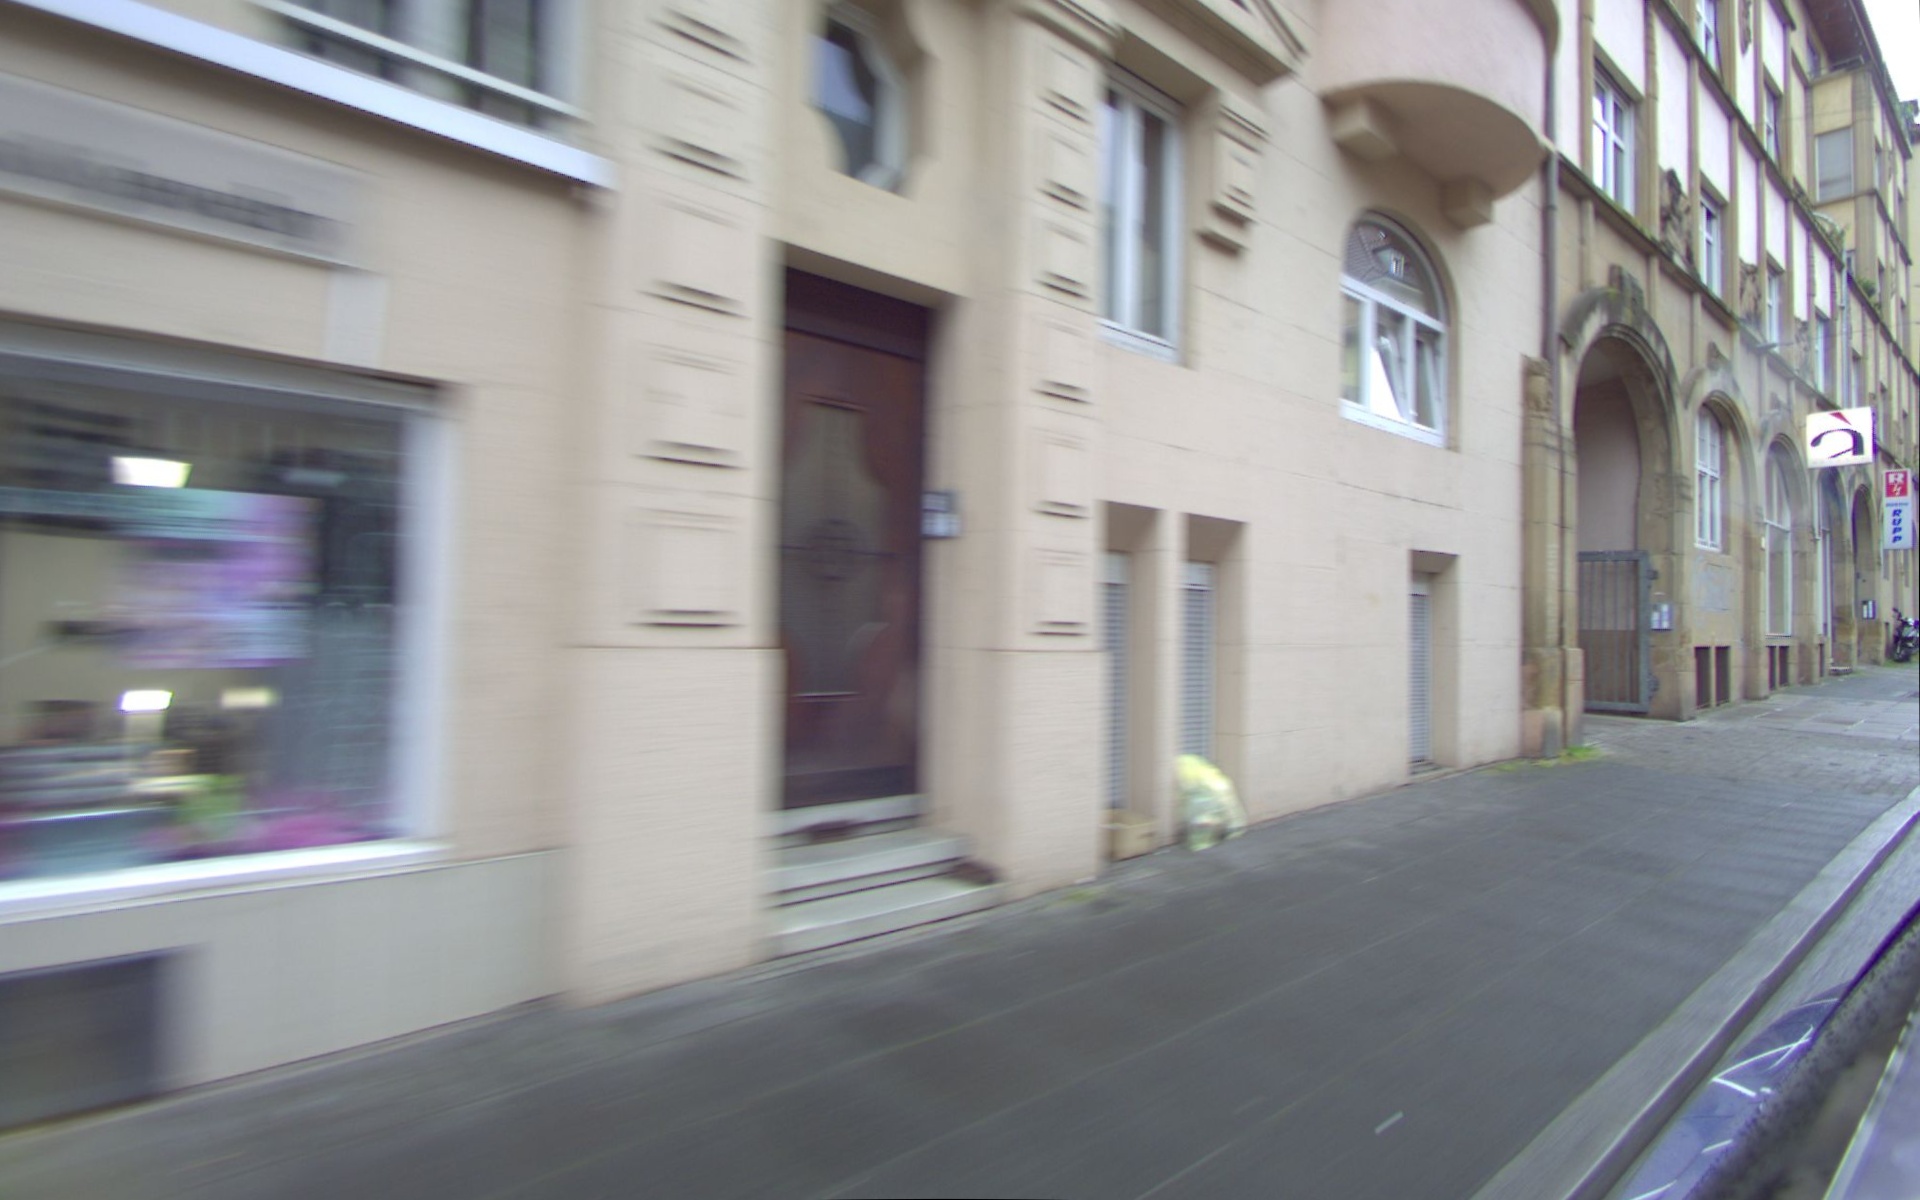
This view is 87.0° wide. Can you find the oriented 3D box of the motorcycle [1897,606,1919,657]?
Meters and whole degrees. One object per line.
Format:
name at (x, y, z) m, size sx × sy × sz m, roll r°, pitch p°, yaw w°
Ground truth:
motorcycle at (24.797, 0.813, 26.046) m, size 1.747 × 1.252 × 0.692 m, roll 1°, pitch 5°, yaw -41°
